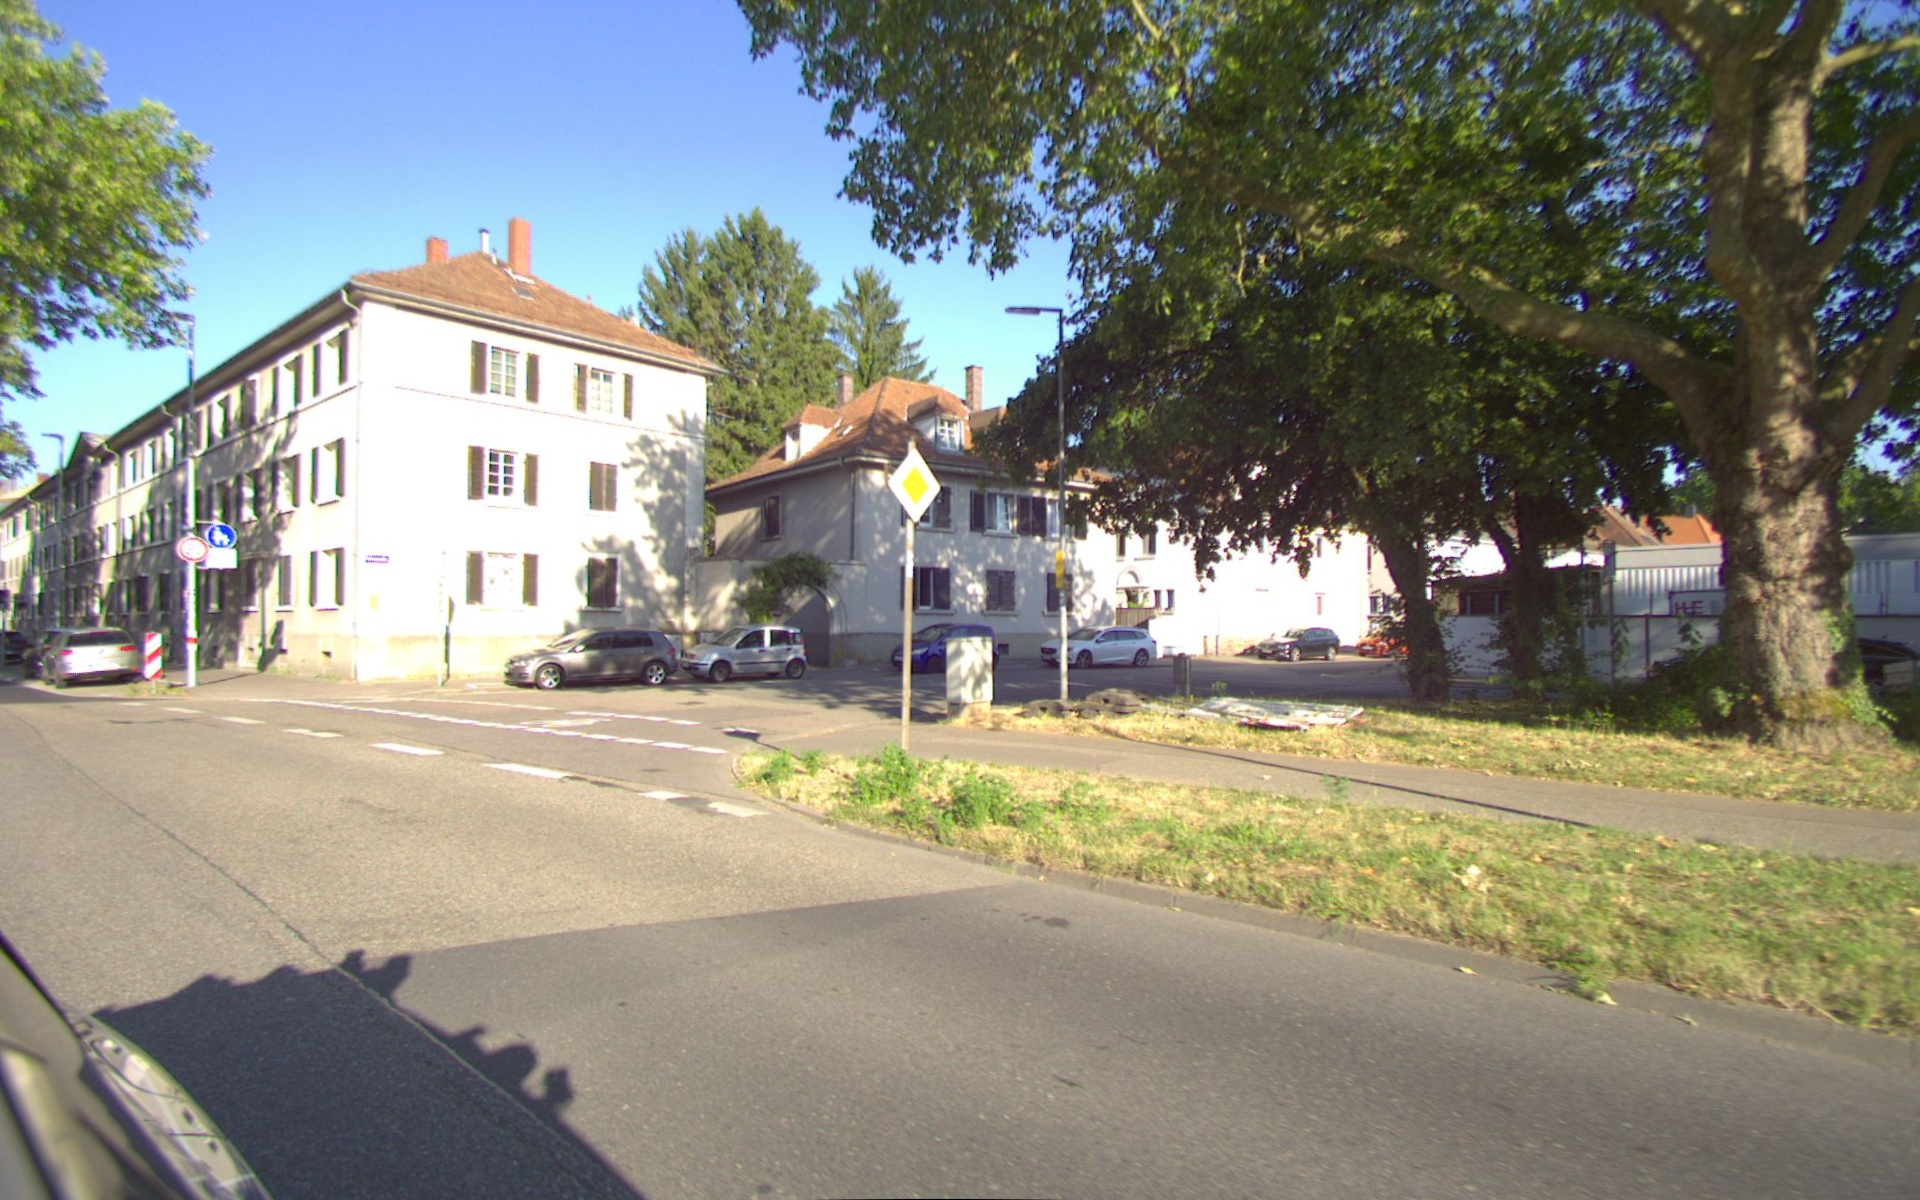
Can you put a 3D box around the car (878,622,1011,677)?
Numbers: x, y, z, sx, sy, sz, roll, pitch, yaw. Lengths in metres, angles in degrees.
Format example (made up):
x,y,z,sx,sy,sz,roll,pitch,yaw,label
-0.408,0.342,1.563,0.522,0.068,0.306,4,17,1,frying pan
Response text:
x,y,z,sx,sy,sz,roll,pitch,yaw,label
-0.485,1.549,32.817,3.934,1.573,1.869,1,1,-36,car

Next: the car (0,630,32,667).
x,y,z,sx,sy,sz,roll,pitch,yaw,label
-41.211,2.082,43.345,4.087,1.494,1.845,-2,0,43,car

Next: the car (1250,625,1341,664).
x,y,z,sx,sy,sz,roll,pitch,yaw,label
14.780,1.919,44.584,3.934,1.573,1.869,1,0,-36,car

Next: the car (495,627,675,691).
x,y,z,sx,sy,sz,roll,pitch,yaw,label
-9.546,1.442,25.849,3.934,1.429,1.919,1,0,-36,car

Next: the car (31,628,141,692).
x,y,z,sx,sy,sz,roll,pitch,yaw,label
-22.885,1.509,26.447,4.108,1.495,1.742,-2,-1,43,car

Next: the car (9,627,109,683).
x,y,z,sx,sy,sz,roll,pitch,yaw,label
-27.187,1.630,30.500,4.050,1.518,1.689,-2,0,40,car

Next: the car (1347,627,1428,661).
x,y,z,sx,sy,sz,roll,pitch,yaw,label
20.701,2.094,48.938,3.934,1.573,1.869,1,-2,-36,car

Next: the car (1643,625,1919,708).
x,y,z,sx,sy,sz,roll,pitch,yaw,label
17.165,1.337,21.379,4.356,1.573,1.839,-2,-2,41,car

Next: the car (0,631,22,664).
x,y,z,sx,sy,sz,roll,pitch,yaw,label
-45.567,2.227,47.456,4.084,1.495,1.846,-2,0,41,car

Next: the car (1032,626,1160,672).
x,y,z,sx,sy,sz,roll,pitch,yaw,label
4.956,1.717,36.584,4.602,1.573,1.869,1,-2,-37,car

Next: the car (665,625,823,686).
x,y,z,sx,sy,sz,roll,pitch,yaw,label
-6.024,1.497,28.379,3.934,1.573,1.869,1,-1,-36,car
